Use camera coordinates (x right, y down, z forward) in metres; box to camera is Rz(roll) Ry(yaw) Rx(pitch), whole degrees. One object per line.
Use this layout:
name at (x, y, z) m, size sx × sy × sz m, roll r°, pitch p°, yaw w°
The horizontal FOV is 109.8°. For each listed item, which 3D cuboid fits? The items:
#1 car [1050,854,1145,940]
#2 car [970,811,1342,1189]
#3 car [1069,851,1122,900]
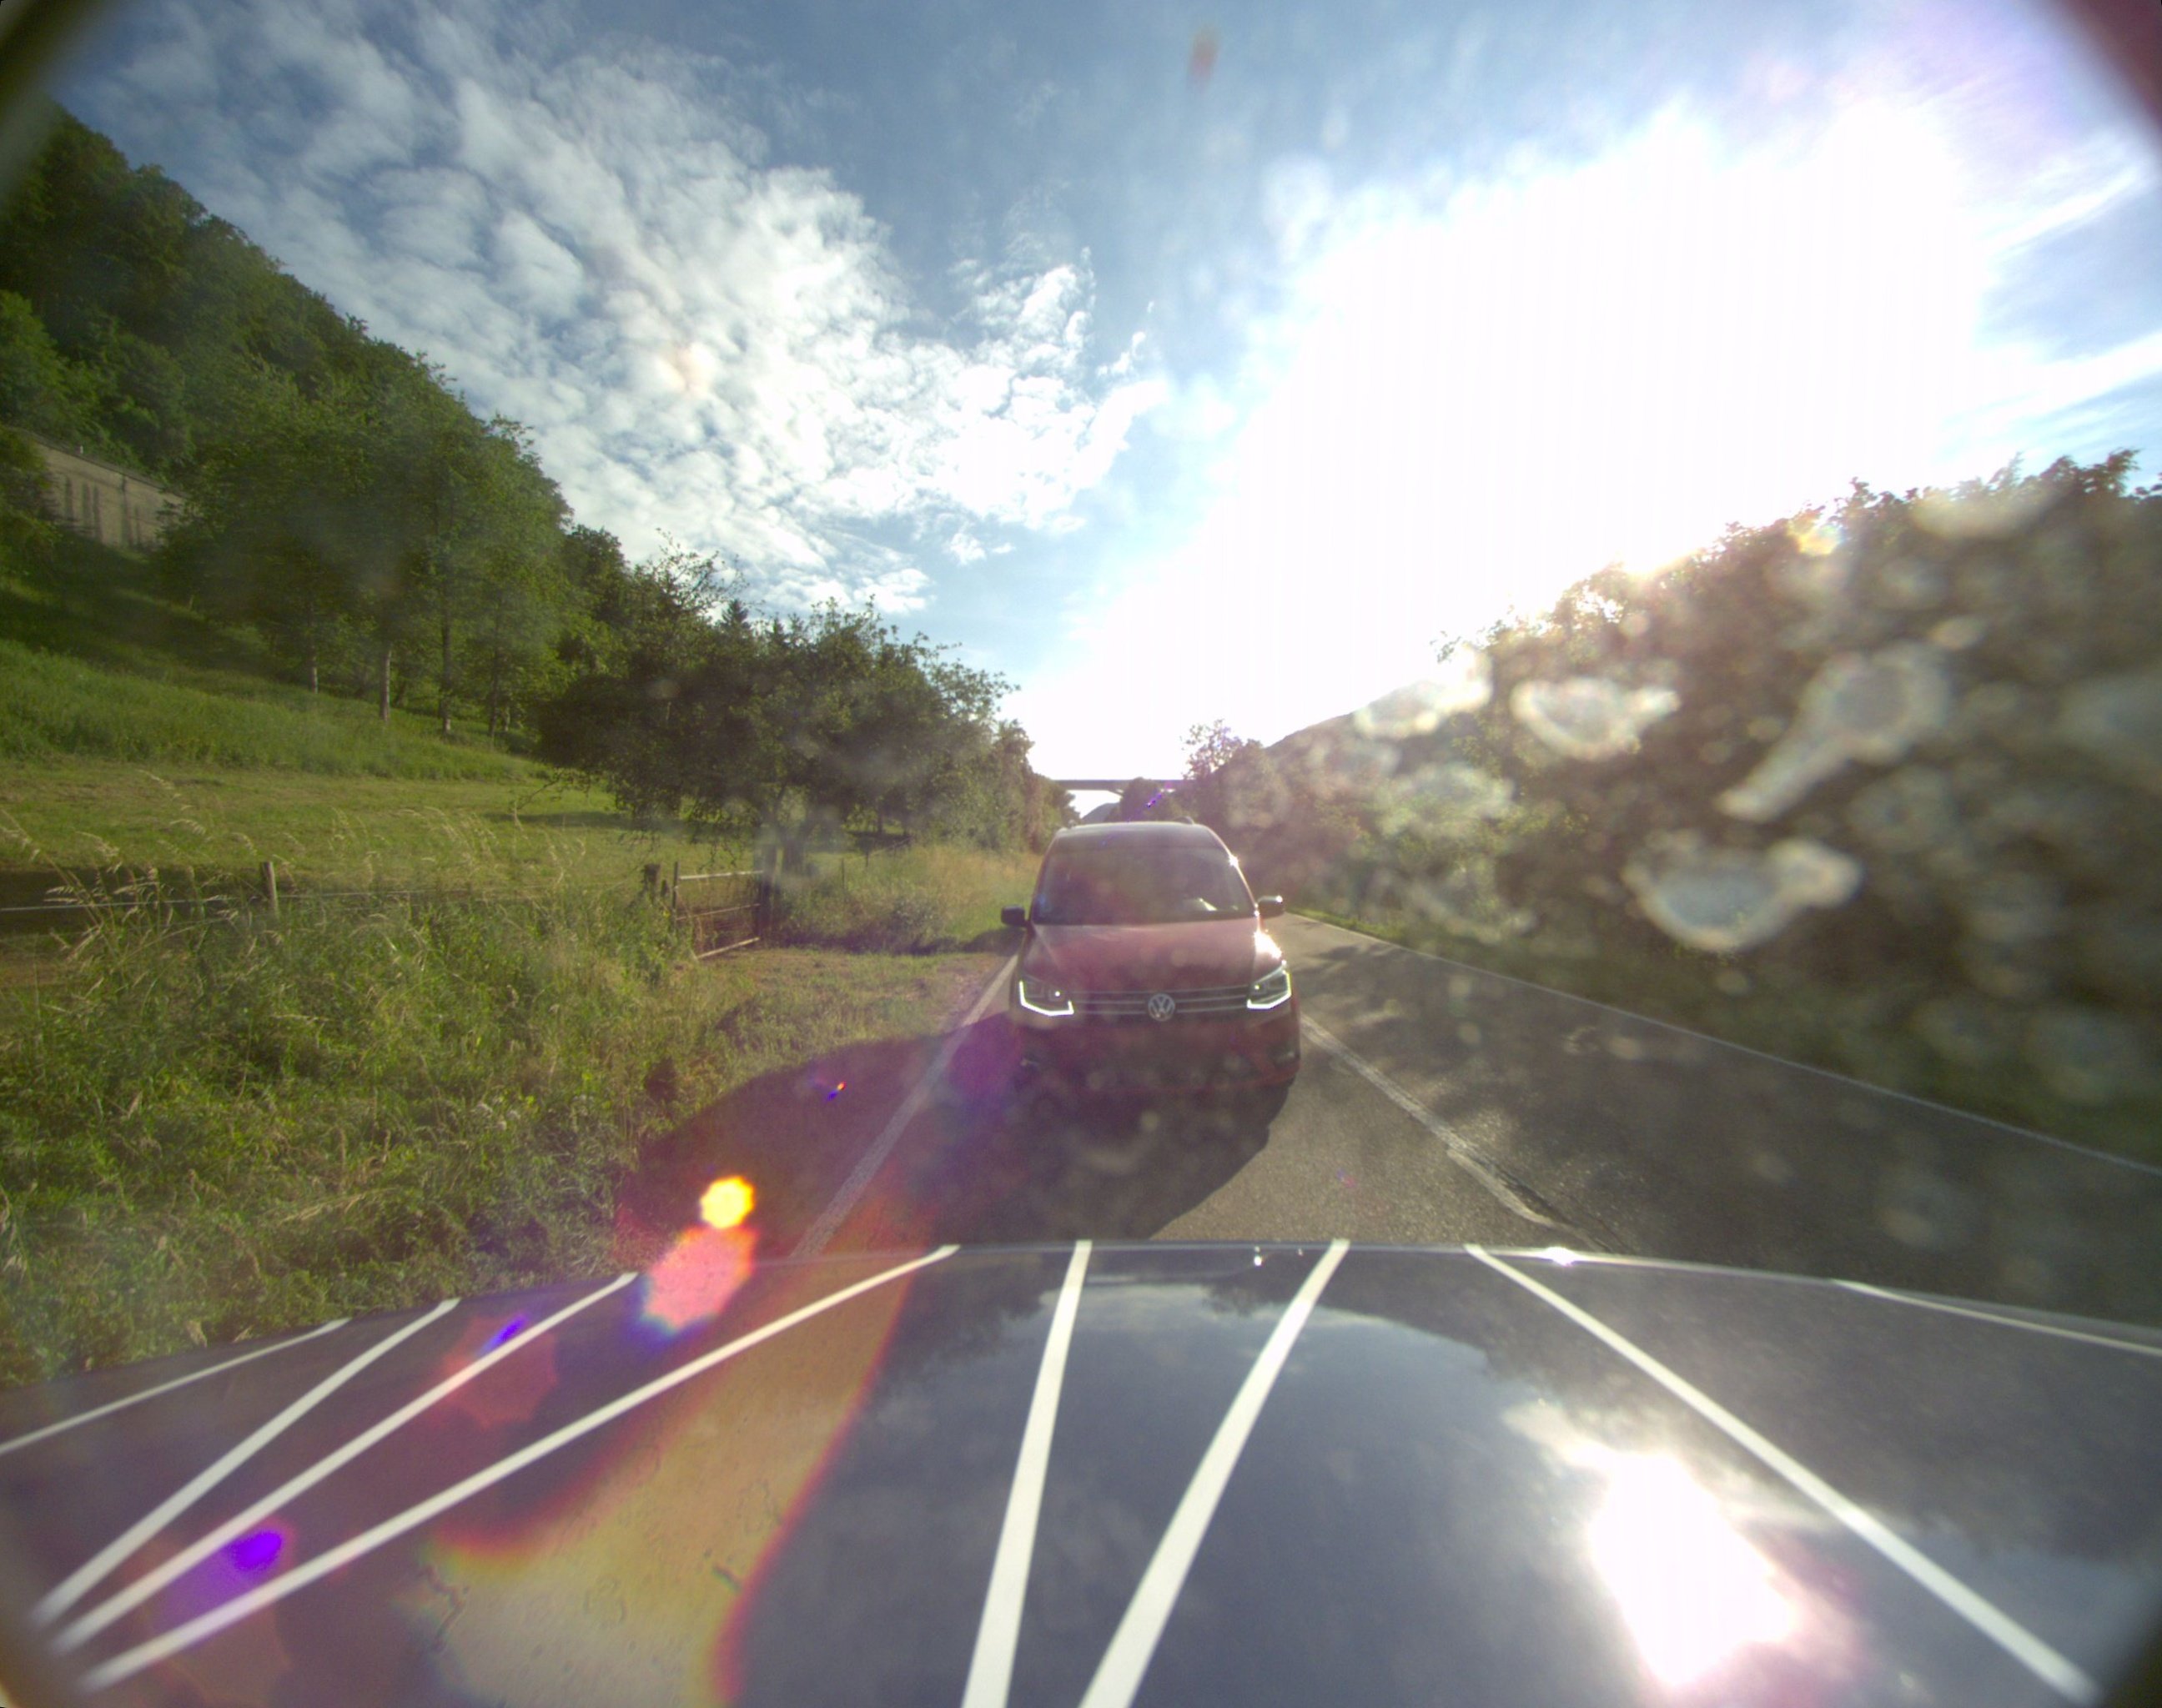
car at (0.362, 0.836, 16.840) m, size 1.753 × 1.513 × 4.288 m, roll -3°, pitch 1°, yaw 1°
car at (0.418, 0.711, 5.920) m, size 1.753 × 1.799 × 4.288 m, roll -3°, pitch 1°, yaw 1°
car at (0.552, 0.756, 28.814) m, size 1.753 × 1.608 × 4.288 m, roll -3°, pitch 1°, yaw 1°
